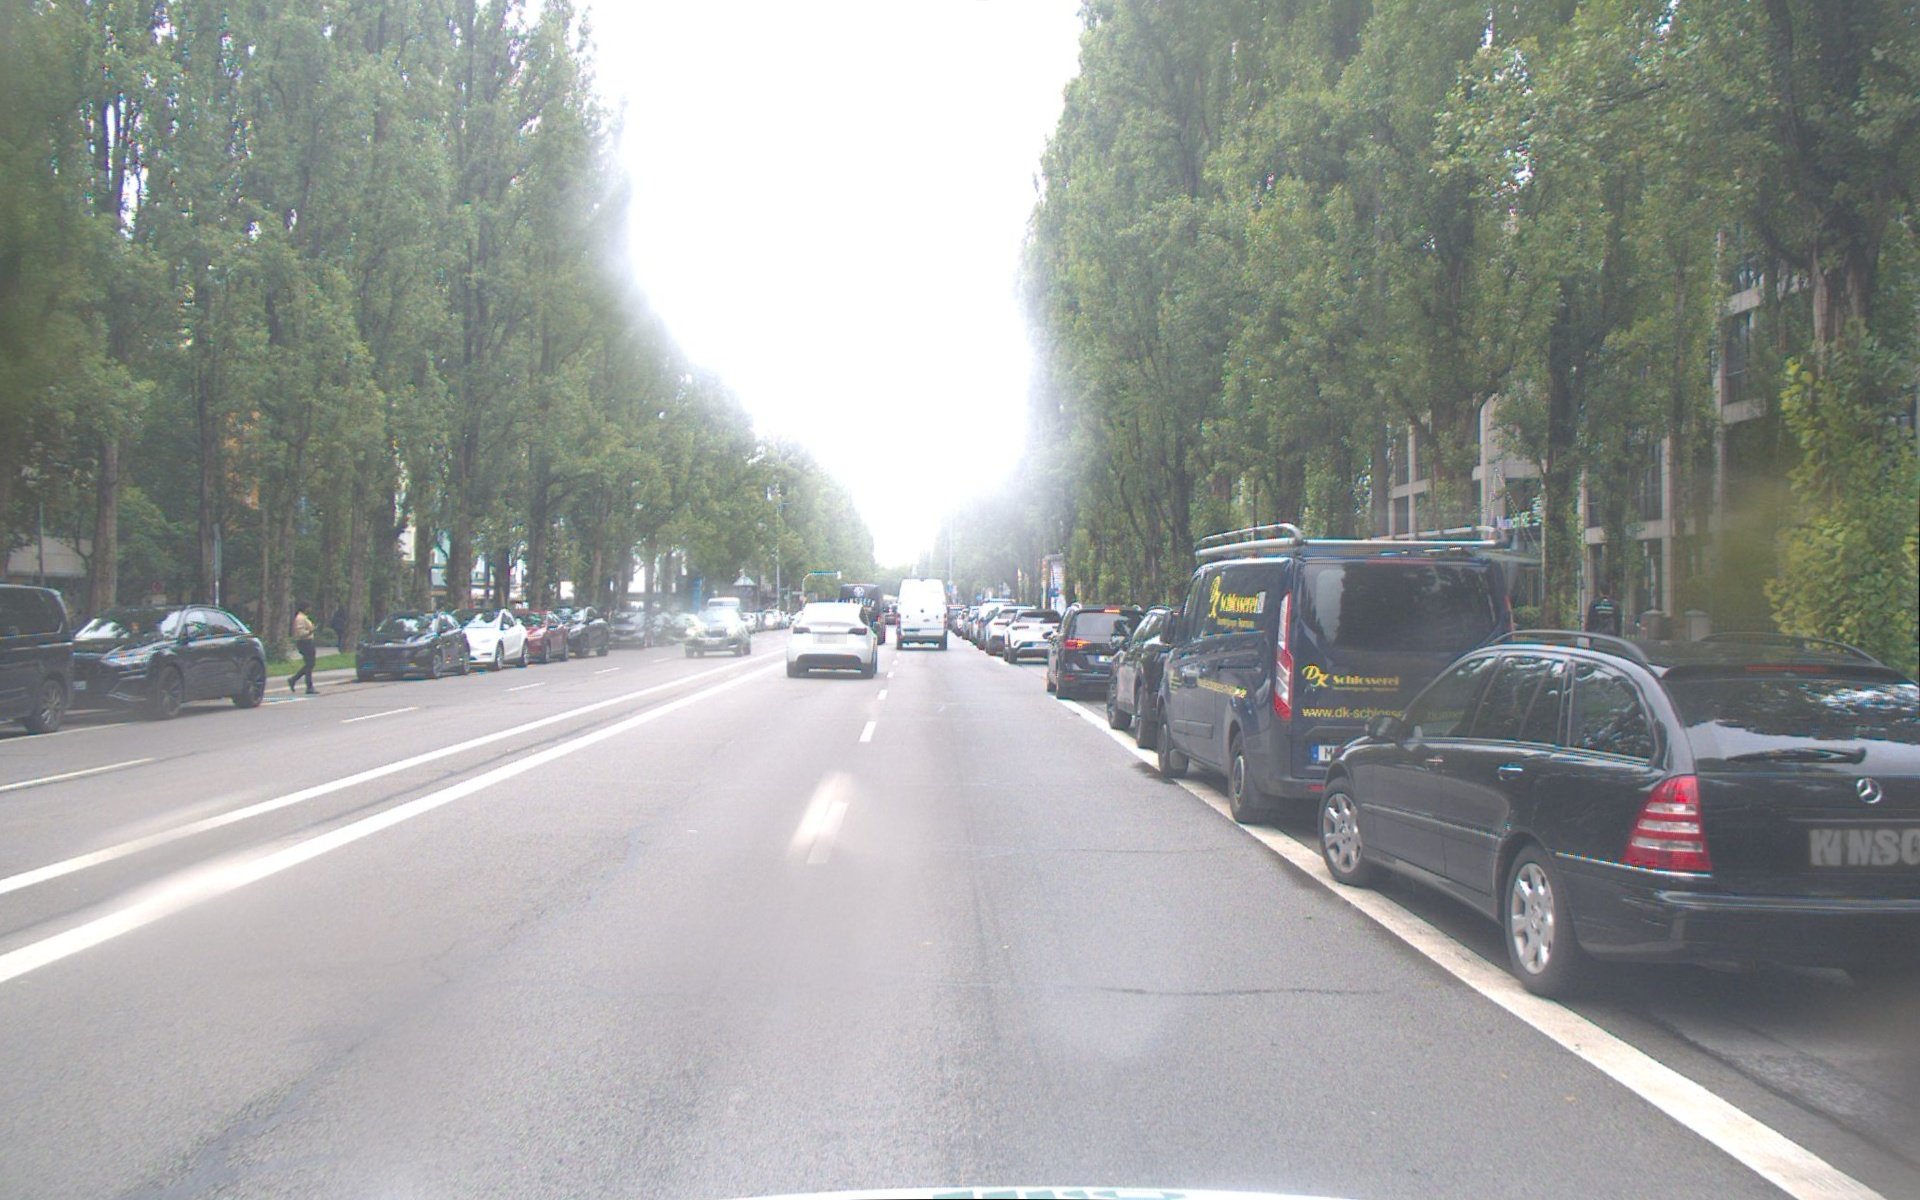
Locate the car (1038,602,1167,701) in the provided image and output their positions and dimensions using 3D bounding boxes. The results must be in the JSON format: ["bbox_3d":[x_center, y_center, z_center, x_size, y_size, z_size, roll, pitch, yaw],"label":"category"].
[{"bbox_3d":[2.444,0.863,29.276,1.708,1.619,3.948,1,0,-3],"label":"car"}]

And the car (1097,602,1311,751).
[{"bbox_3d":[2.747,0.822,19.446,1.708,1.553,3.948,1,0,-3],"label":"car"}]

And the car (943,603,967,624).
[{"bbox_3d":[-0.415,1.070,131.174,1.708,1.672,3.948,1,0,-3],"label":"car"}]

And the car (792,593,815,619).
[{"bbox_3d":[-17.896,0.669,188.903,2.148,2.765,6.998,0,1,-2],"label":"car"}]

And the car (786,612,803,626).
[{"bbox_3d":[-17.864,2.004,178.491,1.520,1.371,3.460,0,1,-2],"label":"car"}]

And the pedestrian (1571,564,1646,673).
[{"bbox_3d":[10.844,0.307,27.671,0.890,1.783,0.860,0,-1,-1],"label":"pedestrian"}]

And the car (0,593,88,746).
[{"bbox_3d":[-12.416,0.831,19.456,1.953,1.829,4.759,0,0,-2],"label":"car"}]

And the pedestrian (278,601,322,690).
[{"bbox_3d":[-12.728,0.867,31.907,0.655,1.686,0.600,0,-1,-7],"label":"pedestrian"}]

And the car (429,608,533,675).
[{"bbox_3d":[-12.804,1.080,44.404,1.726,1.606,3.971,0,1,-2],"label":"car"}]

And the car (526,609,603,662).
[{"bbox_3d":[-13.297,1.157,55.760,1.726,1.606,3.971,0,1,-2],"label":"car"}]

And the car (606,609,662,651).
[{"bbox_3d":[-13.609,1.232,69.246,1.726,1.606,3.460,0,1,-2],"label":"car"}]

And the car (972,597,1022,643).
[{"bbox_3d":[1.497,0.802,67.751,1.708,1.818,3.948,1,0,-3],"label":"car"}]

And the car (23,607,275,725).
[{"bbox_3d":[-12.201,0.927,25.224,1.954,1.634,4.349,0,0,-4],"label":"car"}]

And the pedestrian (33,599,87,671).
[{"bbox_3d":[-21.524,0.832,39.583,0.798,1.691,0.897,0,-1,-1],"label":"pedestrian"}]

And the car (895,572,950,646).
[{"bbox_3d":[-1.502,0.323,64.662,1.999,2.698,6.039,1,0,-2],"label":"car"}]

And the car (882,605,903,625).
[{"bbox_3d":[-5.868,1.263,142.962,1.708,1.672,3.948,1,0,-3],"label":"car"}]

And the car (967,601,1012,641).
[{"bbox_3d":[1.280,0.914,73.089,1.708,1.672,3.948,1,0,-3],"label":"car"}]

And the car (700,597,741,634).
[{"bbox_3d":[-14.732,0.917,102.058,1.953,2.156,4.999,0,1,-2],"label":"car"}]

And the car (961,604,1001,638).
[{"bbox_3d":[1.026,1.053,83.496,1.708,1.672,3.948,1,0,-3],"label":"car"}]

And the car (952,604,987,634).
[{"bbox_3d":[0.515,1.064,94.820,1.708,1.672,3.948,1,0,-3],"label":"car"}]

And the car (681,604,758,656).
[{"bbox_3d":[-7.836,0.944,54.300,1.953,1.576,4.636,1,0,-2],"label":"car"}]

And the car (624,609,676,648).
[{"bbox_3d":[-13.735,1.239,73.383,1.726,1.606,3.460,0,1,-2],"label":"car"}]

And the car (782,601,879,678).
[{"bbox_3d":[-2.856,0.839,37.405,1.953,1.603,4.636,1,0,-2],"label":"car"}]

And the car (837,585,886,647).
[{"bbox_3d":[-4.316,0.676,73.233,2.034,2.600,5.929,1,0,-2],"label":"car"}]

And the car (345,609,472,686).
[{"bbox_3d":[-12.835,1.072,38.698,1.904,1.606,3.608,0,1,-3],"label":"car"}]

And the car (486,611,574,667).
[{"bbox_3d":[-13.001,1.153,50.169,1.726,1.606,3.971,0,0,-2],"label":"car"}]

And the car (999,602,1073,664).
[{"bbox_3d":[2.133,0.916,47.516,1.708,1.672,3.948,1,0,-3],"label":"car"}]

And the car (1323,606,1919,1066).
[{"bbox_3d":[3.137,0.825,7.767,1.708,1.553,4.231,1,0,-3],"label":"car"}]

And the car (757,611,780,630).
[{"bbox_3d":[-14.900,1.606,128.781,1.520,1.371,3.460,0,1,-2],"label":"car"}]

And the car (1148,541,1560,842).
[{"bbox_3d":[2.901,0.624,13.447,1.873,1.958,5.036,1,0,-3],"label":"car"}]

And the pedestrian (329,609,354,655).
[{"bbox_3d":[-20.871,1.082,55.804,0.580,1.519,0.677,0,-1,-1],"label":"pedestrian"}]

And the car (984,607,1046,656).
[{"bbox_3d":[1.800,1.028,55.570,1.708,1.573,3.948,1,0,-3],"label":"car"}]
